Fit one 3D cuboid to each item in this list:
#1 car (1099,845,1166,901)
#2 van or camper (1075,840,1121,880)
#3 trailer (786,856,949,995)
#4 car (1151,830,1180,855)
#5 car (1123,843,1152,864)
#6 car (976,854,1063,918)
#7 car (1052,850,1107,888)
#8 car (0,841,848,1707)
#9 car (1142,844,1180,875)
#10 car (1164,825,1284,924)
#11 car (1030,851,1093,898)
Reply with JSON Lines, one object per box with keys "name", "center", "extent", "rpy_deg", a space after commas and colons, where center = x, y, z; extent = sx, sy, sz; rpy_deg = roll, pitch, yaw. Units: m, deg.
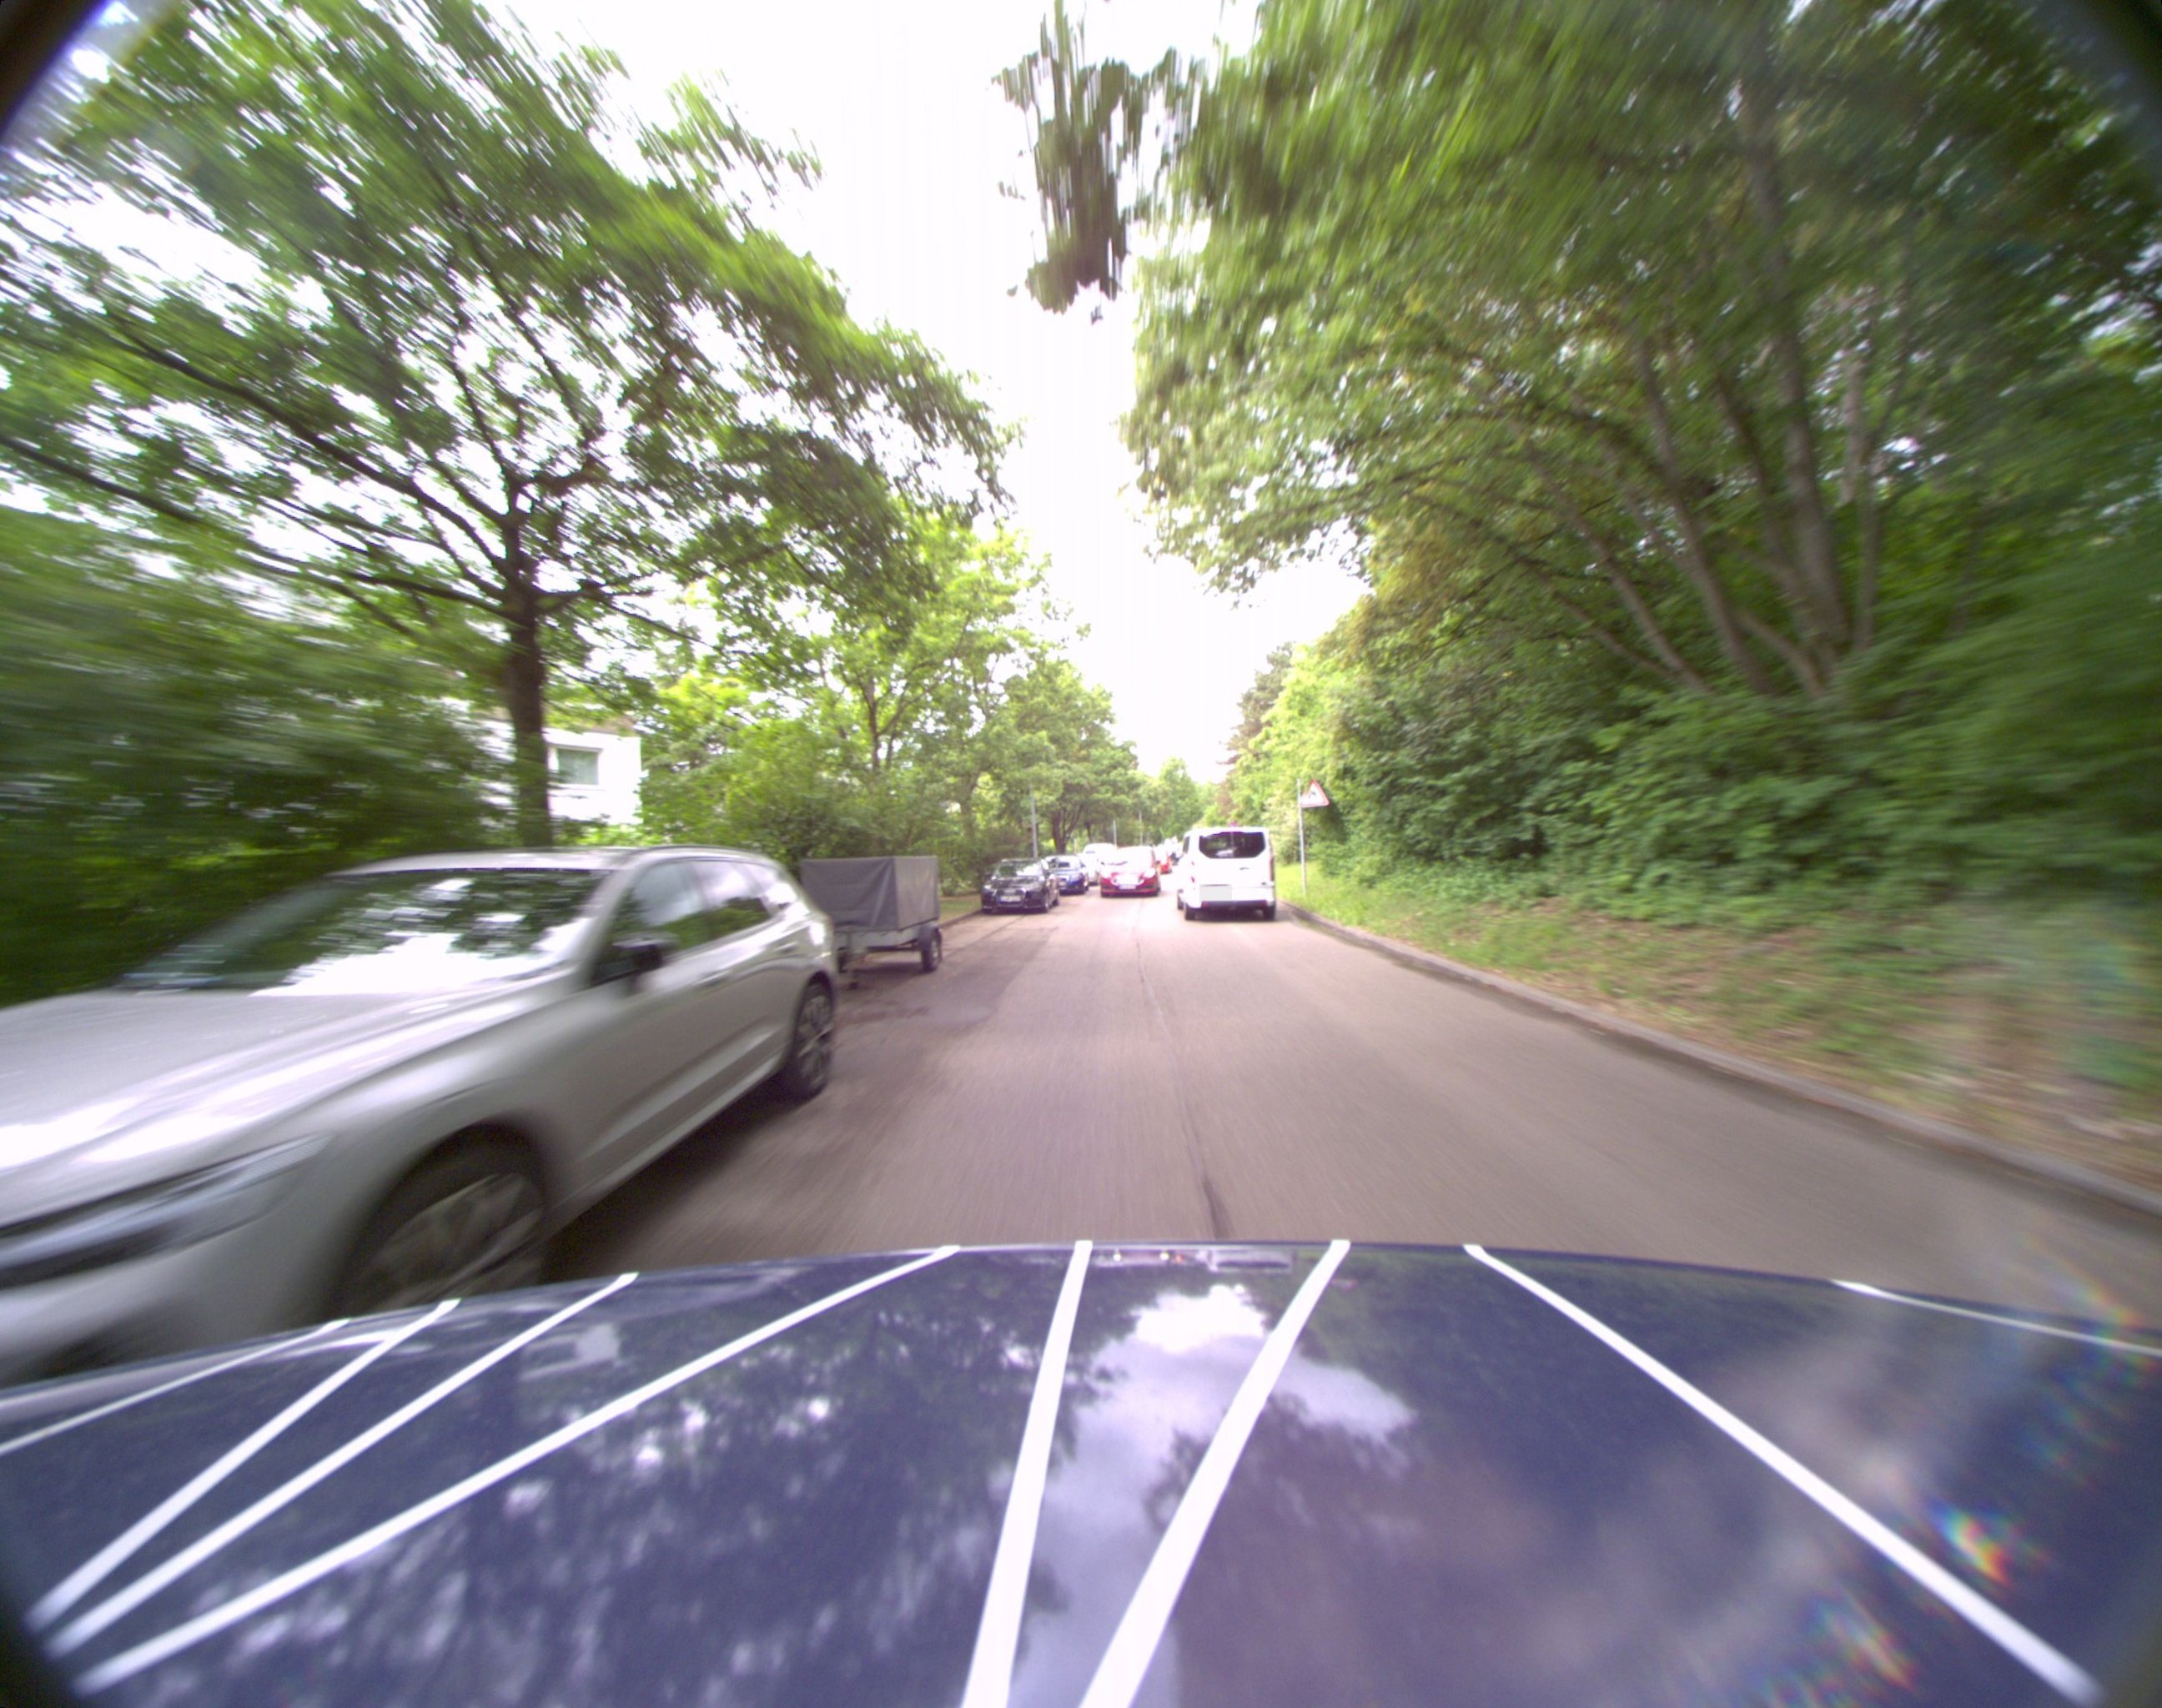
{"name": "car", "center": [1.869, 0.571, 26.130], "extent": [1.944, 1.550, 4.357], "rpy_deg": [-4, 2, 8]}
{"name": "van or camper", "center": [0.965, 0.271, 39.574], "extent": [1.805, 1.828, 4.321], "rpy_deg": [-2, 2, 8]}
{"name": "trailer", "center": [-2.758, 0.859, 10.280], "extent": [1.281, 1.576, 2.461], "rpy_deg": [-2, 1, 4]}
{"name": "car", "center": [6.614, -0.940, 59.170], "extent": [1.997, 1.685, 4.001], "rpy_deg": [-4, 2, 8]}
{"name": "car", "center": [4.544, -0.060, 60.715], "extent": [1.890, 1.498, 5.178], "rpy_deg": [-2, 1, 9]}
{"name": "car", "center": [-1.572, 0.800, 20.725], "extent": [1.724, 1.444, 3.918], "rpy_deg": [-2, 1, 4]}
{"name": "car", "center": [0.015, 0.617, 33.799], "extent": [1.816, 1.429, 4.244], "rpy_deg": [-3, 1, 8]}
{"name": "car", "center": [-2.618, 0.832, 3.278], "extent": [1.796, 1.661, 4.500], "rpy_deg": [-2, 2, 0]}
{"name": "car", "center": [4.633, 0.287, 44.153], "extent": [1.998, 1.504, 4.000], "rpy_deg": [-4, 2, 6]}
{"name": "car", "center": [3.185, 0.410, 17.879], "extent": [1.952, 1.973, 4.501], "rpy_deg": [-2, 0, 1]}
{"name": "car", "center": [-0.622, 0.691, 27.872], "extent": [1.851, 1.466, 4.479], "rpy_deg": [-2, 1, 4]}
